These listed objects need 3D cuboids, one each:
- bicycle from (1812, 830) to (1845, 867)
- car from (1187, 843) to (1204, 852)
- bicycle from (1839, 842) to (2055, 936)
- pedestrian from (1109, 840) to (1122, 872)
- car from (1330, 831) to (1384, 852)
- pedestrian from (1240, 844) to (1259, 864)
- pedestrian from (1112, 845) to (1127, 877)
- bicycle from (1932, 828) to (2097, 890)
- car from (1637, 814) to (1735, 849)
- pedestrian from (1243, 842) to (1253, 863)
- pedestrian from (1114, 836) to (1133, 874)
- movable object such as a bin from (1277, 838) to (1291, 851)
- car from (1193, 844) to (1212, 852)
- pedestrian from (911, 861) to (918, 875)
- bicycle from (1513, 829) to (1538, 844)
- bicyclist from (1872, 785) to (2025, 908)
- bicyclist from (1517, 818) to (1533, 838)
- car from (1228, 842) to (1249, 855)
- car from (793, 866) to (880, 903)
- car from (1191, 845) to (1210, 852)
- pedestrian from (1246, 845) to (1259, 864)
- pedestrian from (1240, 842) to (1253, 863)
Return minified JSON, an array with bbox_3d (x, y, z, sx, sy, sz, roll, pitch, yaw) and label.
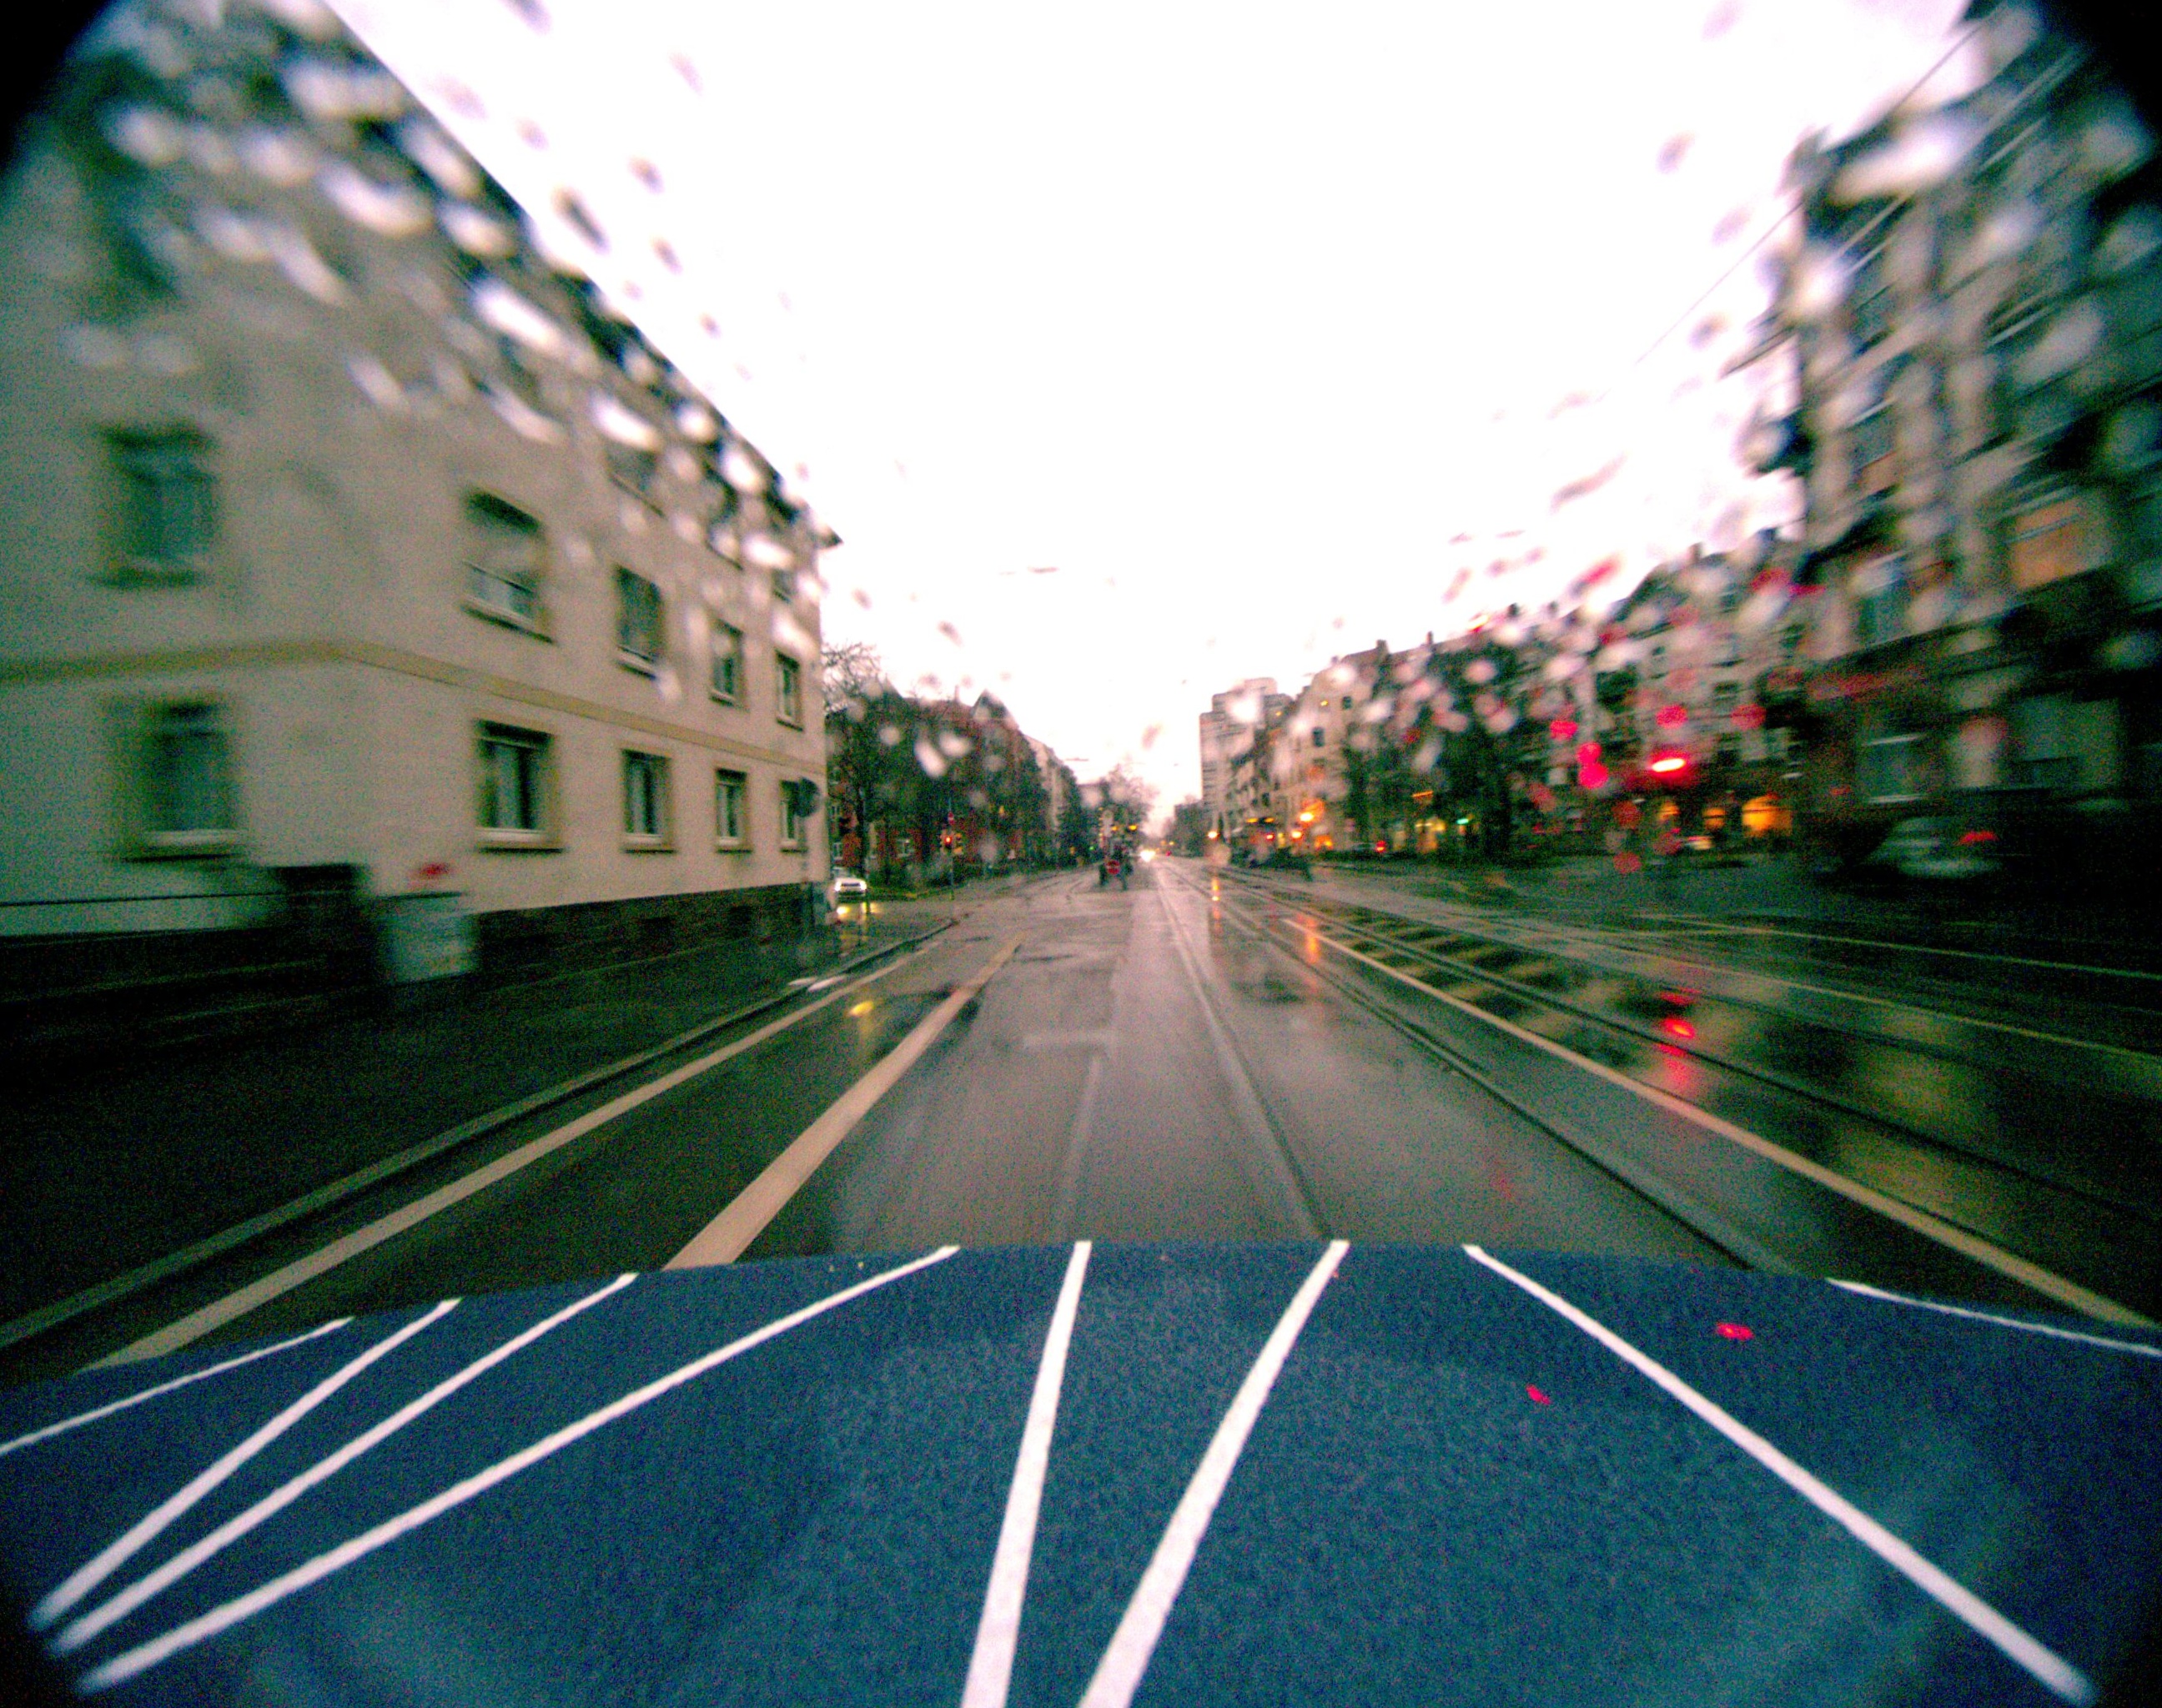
[{"bbox_3d":[17.187,-0.138,17.486,0.400,0.754,1.814,-3,1,41],"label":"bicycle"},{"bbox_3d":[27.881,-1.531,184.725,3.838,1.707,1.728,-6,0,6],"label":"car"},{"bbox_3d":[10.483,0.378,9.311,0.683,1.001,1.803,-3,1,6],"label":"bicycle"},{"bbox_3d":[2.062,0.113,45.085,0.558,1.797,0.571,-6,1,6],"label":"pedestrian"},{"bbox_3d":[24.734,-1.132,68.118,4.333,1.574,1.940,-3,1,26],"label":"car"},{"bbox_3d":[11.535,0.000,51.996,1.058,1.247,0.506,-6,1,5],"label":"pedestrian"},{"bbox_3d":[2.129,0.375,42.091,0.659,1.698,0.571,-6,1,6],"label":"pedestrian"},{"bbox_3d":[14.312,0.057,11.728,0.400,0.857,1.849,-3,1,6],"label":"bicycle"},{"bbox_3d":[33.870,-1.257,42.629,1.882,1.761,3.854,-2,0,-27],"label":"car"},{"bbox_3d":[11.656,-0.100,53.023,0.474,1.395,0.453,-6,1,5],"label":"pedestrian"},{"bbox_3d":[2.236,0.039,39.714,0.688,1.906,0.717,-6,2,-6],"label":"pedestrian"},{"bbox_3d":[24.595,-1.136,92.173,1.352,1.364,1.281,-6,1,4],"label":"movable object such as a bin"},{"bbox_3d":[25.995,-1.222,162.603,3.838,1.405,1.728,-3,1,6],"label":"car"},{"bbox_3d":[-16.483,1.353,75.188,0.546,1.309,0.608,-4,0,-7],"label":"pedestrian"},{"bbox_3d":[31.429,-1.237,53.736,0.492,1.001,1.810,-4,1,-7],"label":"bicycle"},{"bbox_3d":[10.431,-0.089,9.179,0.706,1.356,0.944,-5,1,6],"label":"bicyclist"},{"bbox_3d":[31.402,-1.842,53.702,0.530,1.356,0.765,-5,1,-7],"label":"bicyclist"},{"bbox_3d":[20.377,-0.726,98.705,1.806,1.382,4.509,-6,0,2],"label":"car"},{"bbox_3d":[-11.369,1.354,35.126,1.903,1.501,4.740,-3,1,-44],"label":"car"},{"bbox_3d":[26.041,-1.251,165.284,3.838,1.405,1.728,-3,0,6],"label":"car"},{"bbox_3d":[11.599,0.026,51.355,0.654,1.211,0.517,-6,1,5],"label":"pedestrian"},{"bbox_3d":[11.655,-0.104,53.568,0.685,1.395,0.578,-6,1,5],"label":"pedestrian"}]
